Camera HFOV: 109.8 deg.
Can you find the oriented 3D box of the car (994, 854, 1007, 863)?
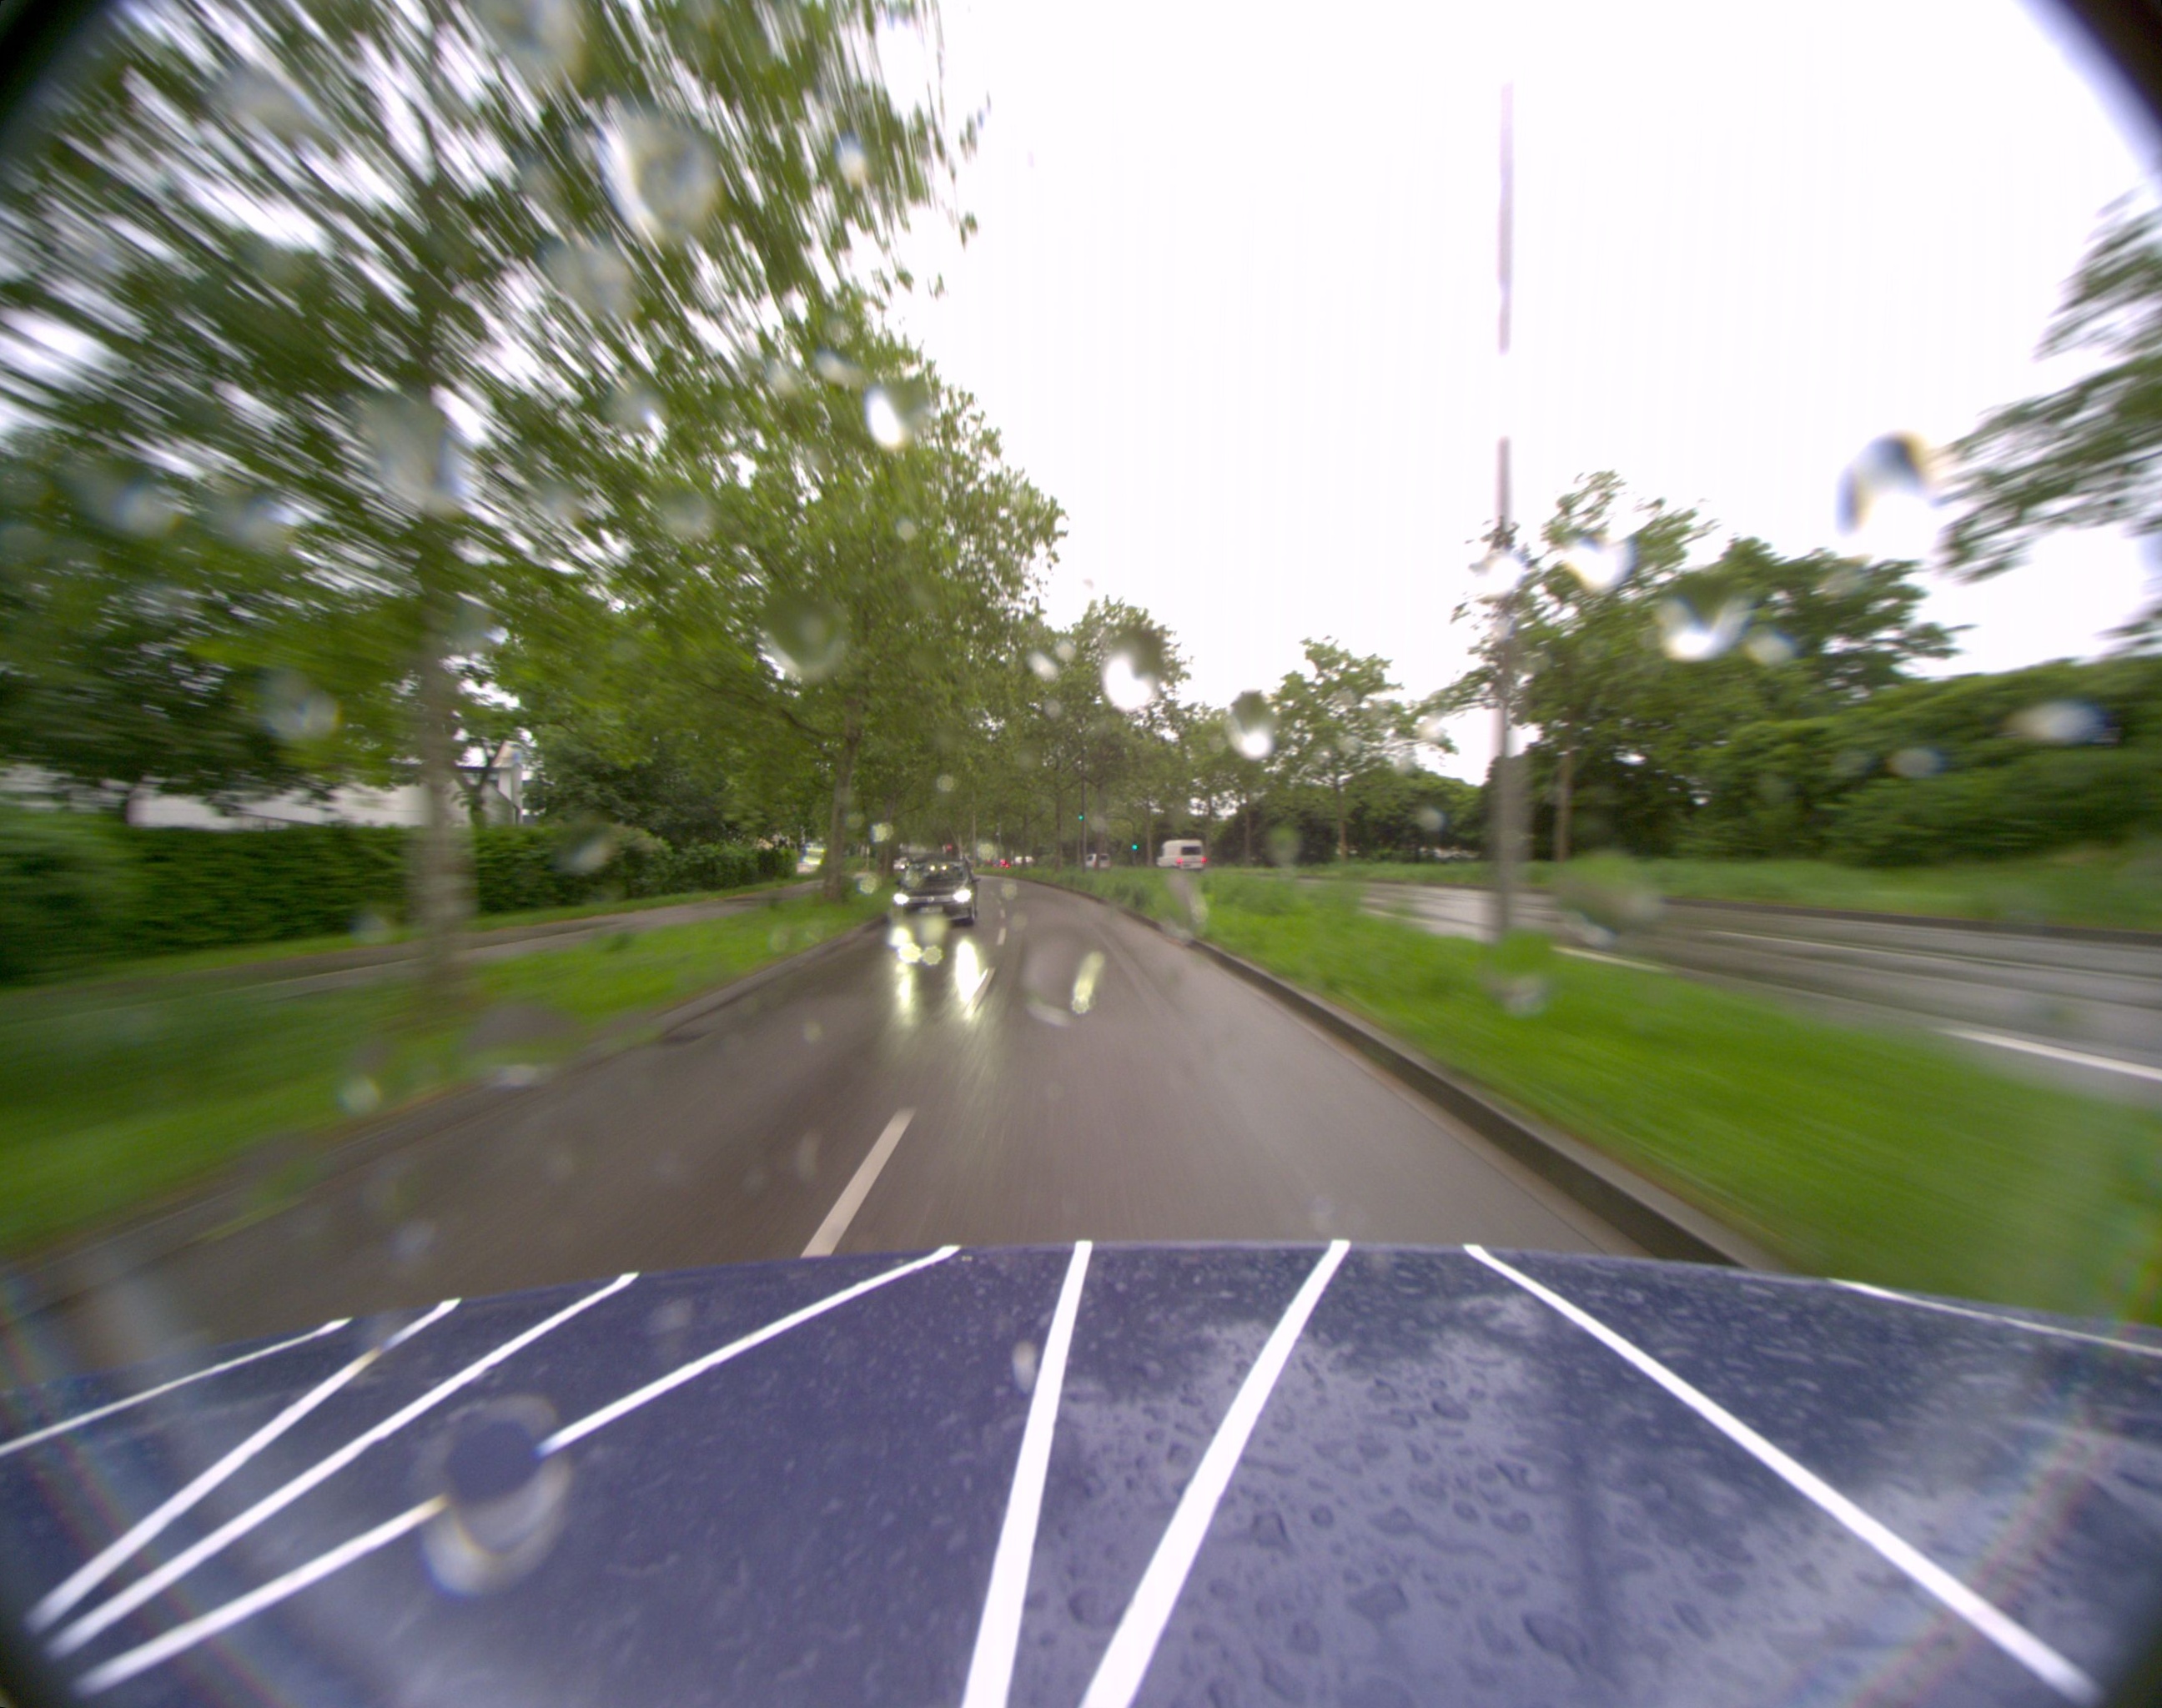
[{"bbox_3d":[-13.739,0.809,129.342,1.786,1.546,3.995,-1,0,-13],"label":"car"}]

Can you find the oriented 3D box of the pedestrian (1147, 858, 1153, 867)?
[{"bbox_3d":[7.770,0.948,85.628,0.476,1.034,0.441,0,0,-10],"label":"pedestrian"}]

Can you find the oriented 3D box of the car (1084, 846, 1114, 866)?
[{"bbox_3d":[1.824,0.213,80.274,1.941,1.929,5.192,-1,0,-12],"label":"car"}]

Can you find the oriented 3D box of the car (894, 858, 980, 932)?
[{"bbox_3d":[-3.463,0.897,18.554,1.785,1.546,3.997,-2,0,-9],"label":"car"}]

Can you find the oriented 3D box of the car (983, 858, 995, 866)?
[{"bbox_3d":[-18.253,1.655,150.827,1.786,1.546,3.995,-1,0,-13],"label":"car"}]

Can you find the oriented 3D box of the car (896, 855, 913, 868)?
[{"bbox_3d":[-21.807,0.870,93.690,1.786,1.546,3.994,-1,0,-16],"label":"car"}]

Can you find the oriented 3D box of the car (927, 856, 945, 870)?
[{"bbox_3d":[-16.469,1.024,86.109,1.786,1.546,3.995,-1,-1,-15],"label":"car"}]

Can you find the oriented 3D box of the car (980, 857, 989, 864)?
[{"bbox_3d":[-21.899,1.534,172.424,1.786,1.546,3.995,-1,0,-13],"label":"car"}]

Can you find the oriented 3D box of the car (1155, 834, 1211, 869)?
[{"bbox_3d":[7.563,-0.161,57.101,2.286,2.412,6.354,-1,0,-10],"label":"car"}]
